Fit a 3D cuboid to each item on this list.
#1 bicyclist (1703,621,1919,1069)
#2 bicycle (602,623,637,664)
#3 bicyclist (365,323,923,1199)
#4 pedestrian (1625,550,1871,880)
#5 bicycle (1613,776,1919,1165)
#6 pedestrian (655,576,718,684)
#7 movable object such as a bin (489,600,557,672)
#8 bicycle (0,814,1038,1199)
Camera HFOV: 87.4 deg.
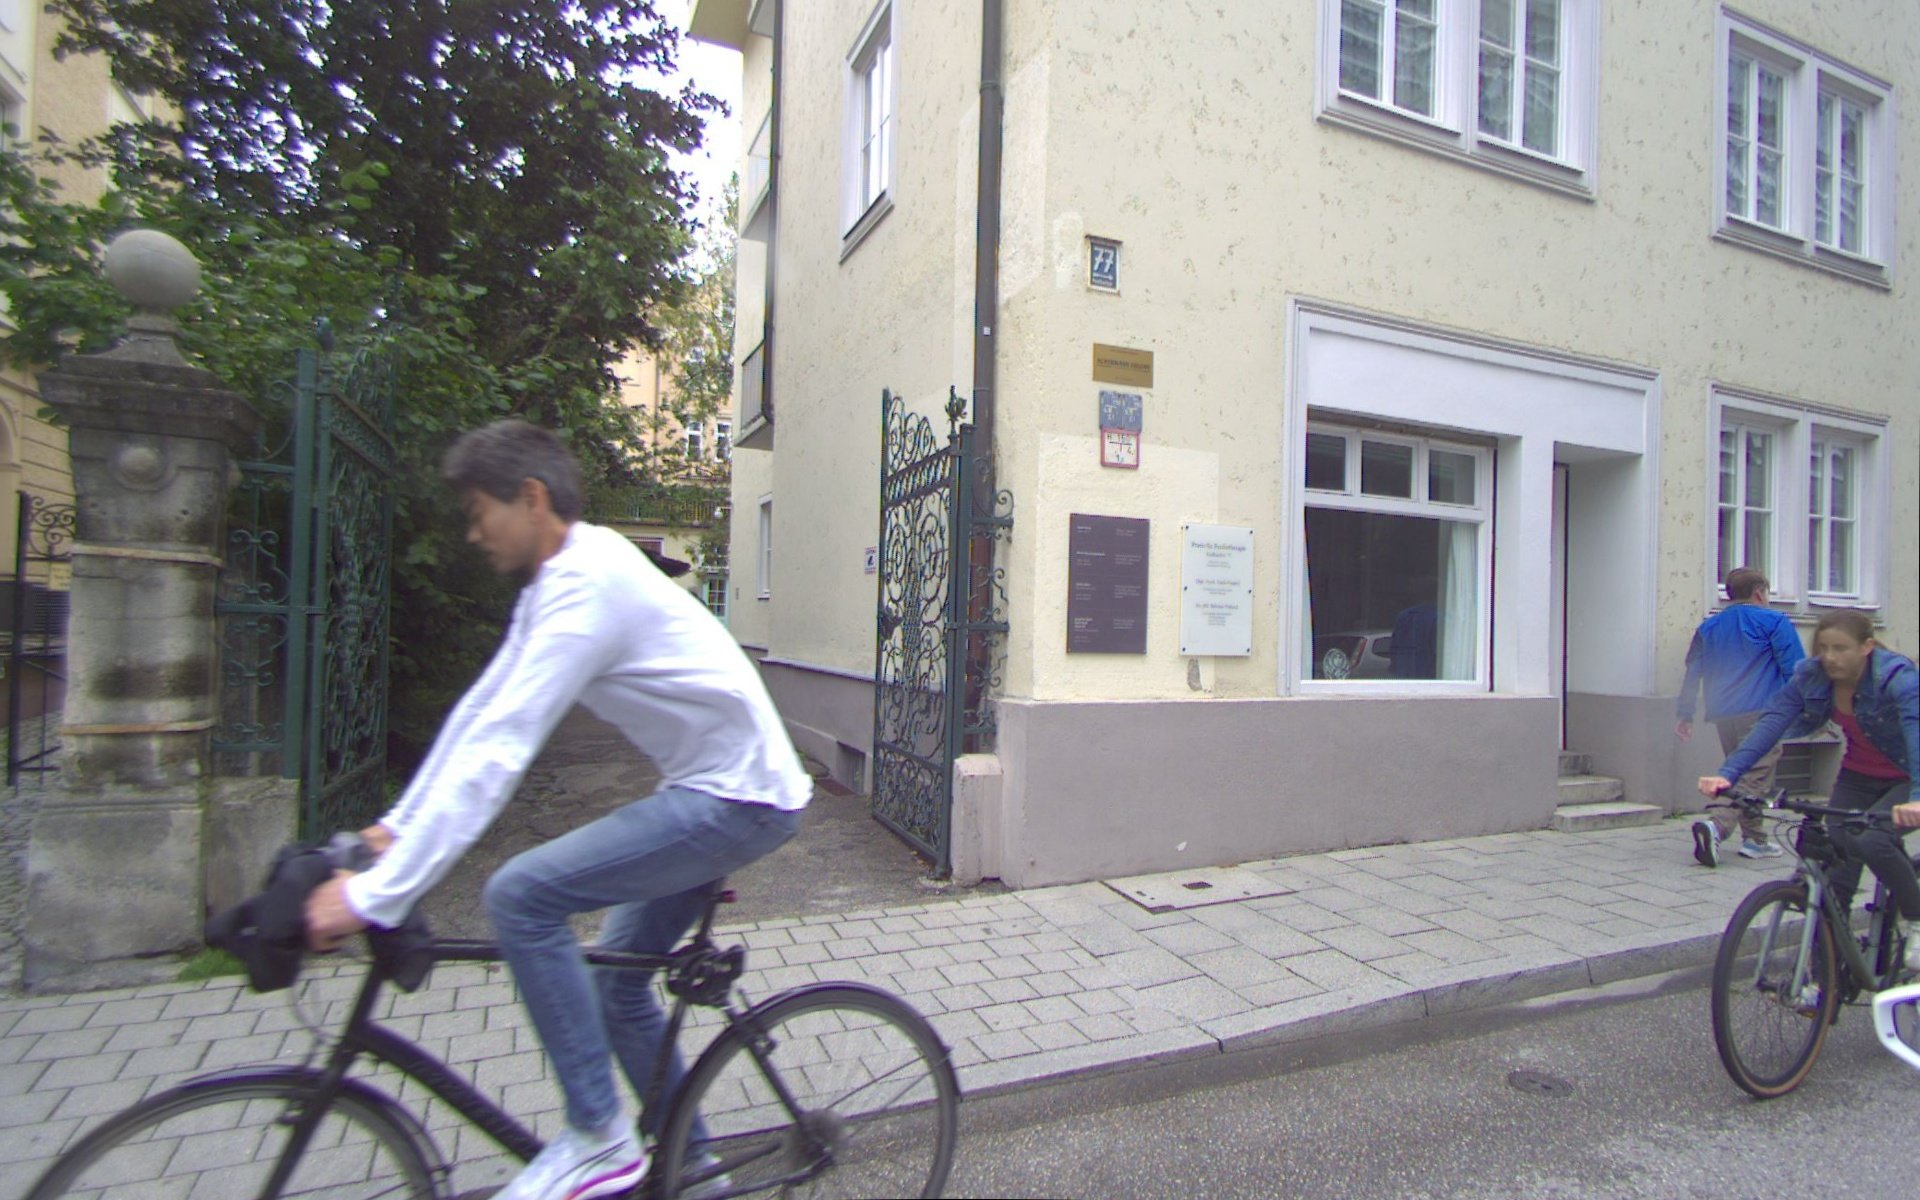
[{"bbox_3d":[3.249,0.780,3.551,0.802,1.389,0.706,2,-2,-24],"label":"bicyclist"},{"bbox_3d":[-8.562,1.079,25.327,0.687,0.985,1.883,2,-1,-15],"label":"bicycle"},{"bbox_3d":[-0.620,0.425,2.016,0.883,1.664,0.658,2,-1,-24],"label":"bicyclist"},{"bbox_3d":[4.911,0.670,6.283,1.062,1.879,0.755,2,0,-24],"label":"pedestrian"},{"bbox_3d":[3.215,1.166,3.529,1.784,0.917,0.706,2,-2,-25],"label":"bicycle"},{"bbox_3d":[-4.877,0.530,17.968,0.891,1.851,0.955,2,-1,-6],"label":"pedestrian"},{"bbox_3d":[-8.955,0.736,20.636,1.089,1.422,1.224,2,-1,-16],"label":"movable object such as a bin"},{"bbox_3d":[-0.883,1.047,1.897,1.977,1.052,0.659,2,-2,-25],"label":"bicycle"}]
